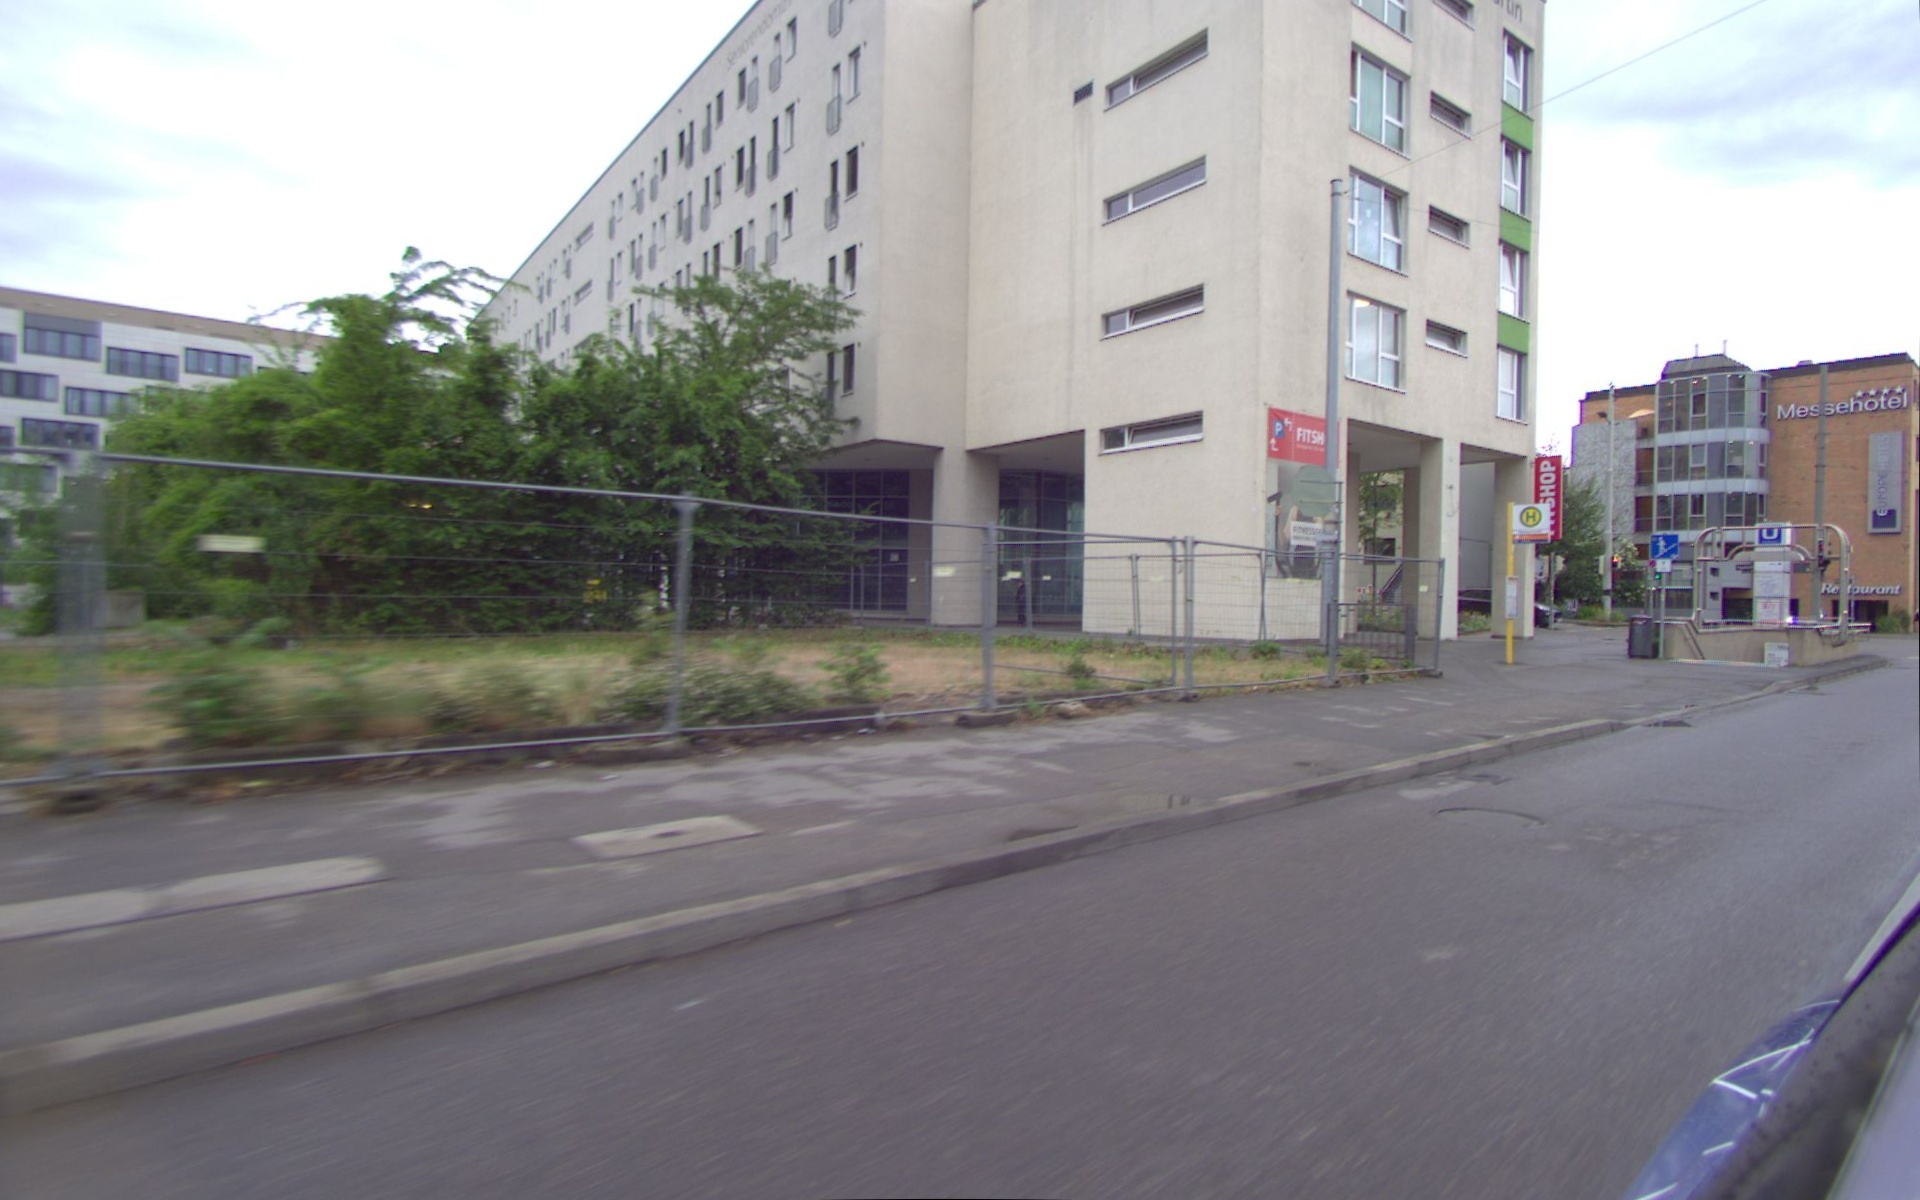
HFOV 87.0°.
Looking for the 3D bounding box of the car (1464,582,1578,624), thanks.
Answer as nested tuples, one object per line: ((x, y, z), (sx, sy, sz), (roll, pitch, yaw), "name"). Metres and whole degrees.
((25.253, 0.089, 45.639), (1.963, 1.592, 4.000), (-2, 5, -37), "car")
